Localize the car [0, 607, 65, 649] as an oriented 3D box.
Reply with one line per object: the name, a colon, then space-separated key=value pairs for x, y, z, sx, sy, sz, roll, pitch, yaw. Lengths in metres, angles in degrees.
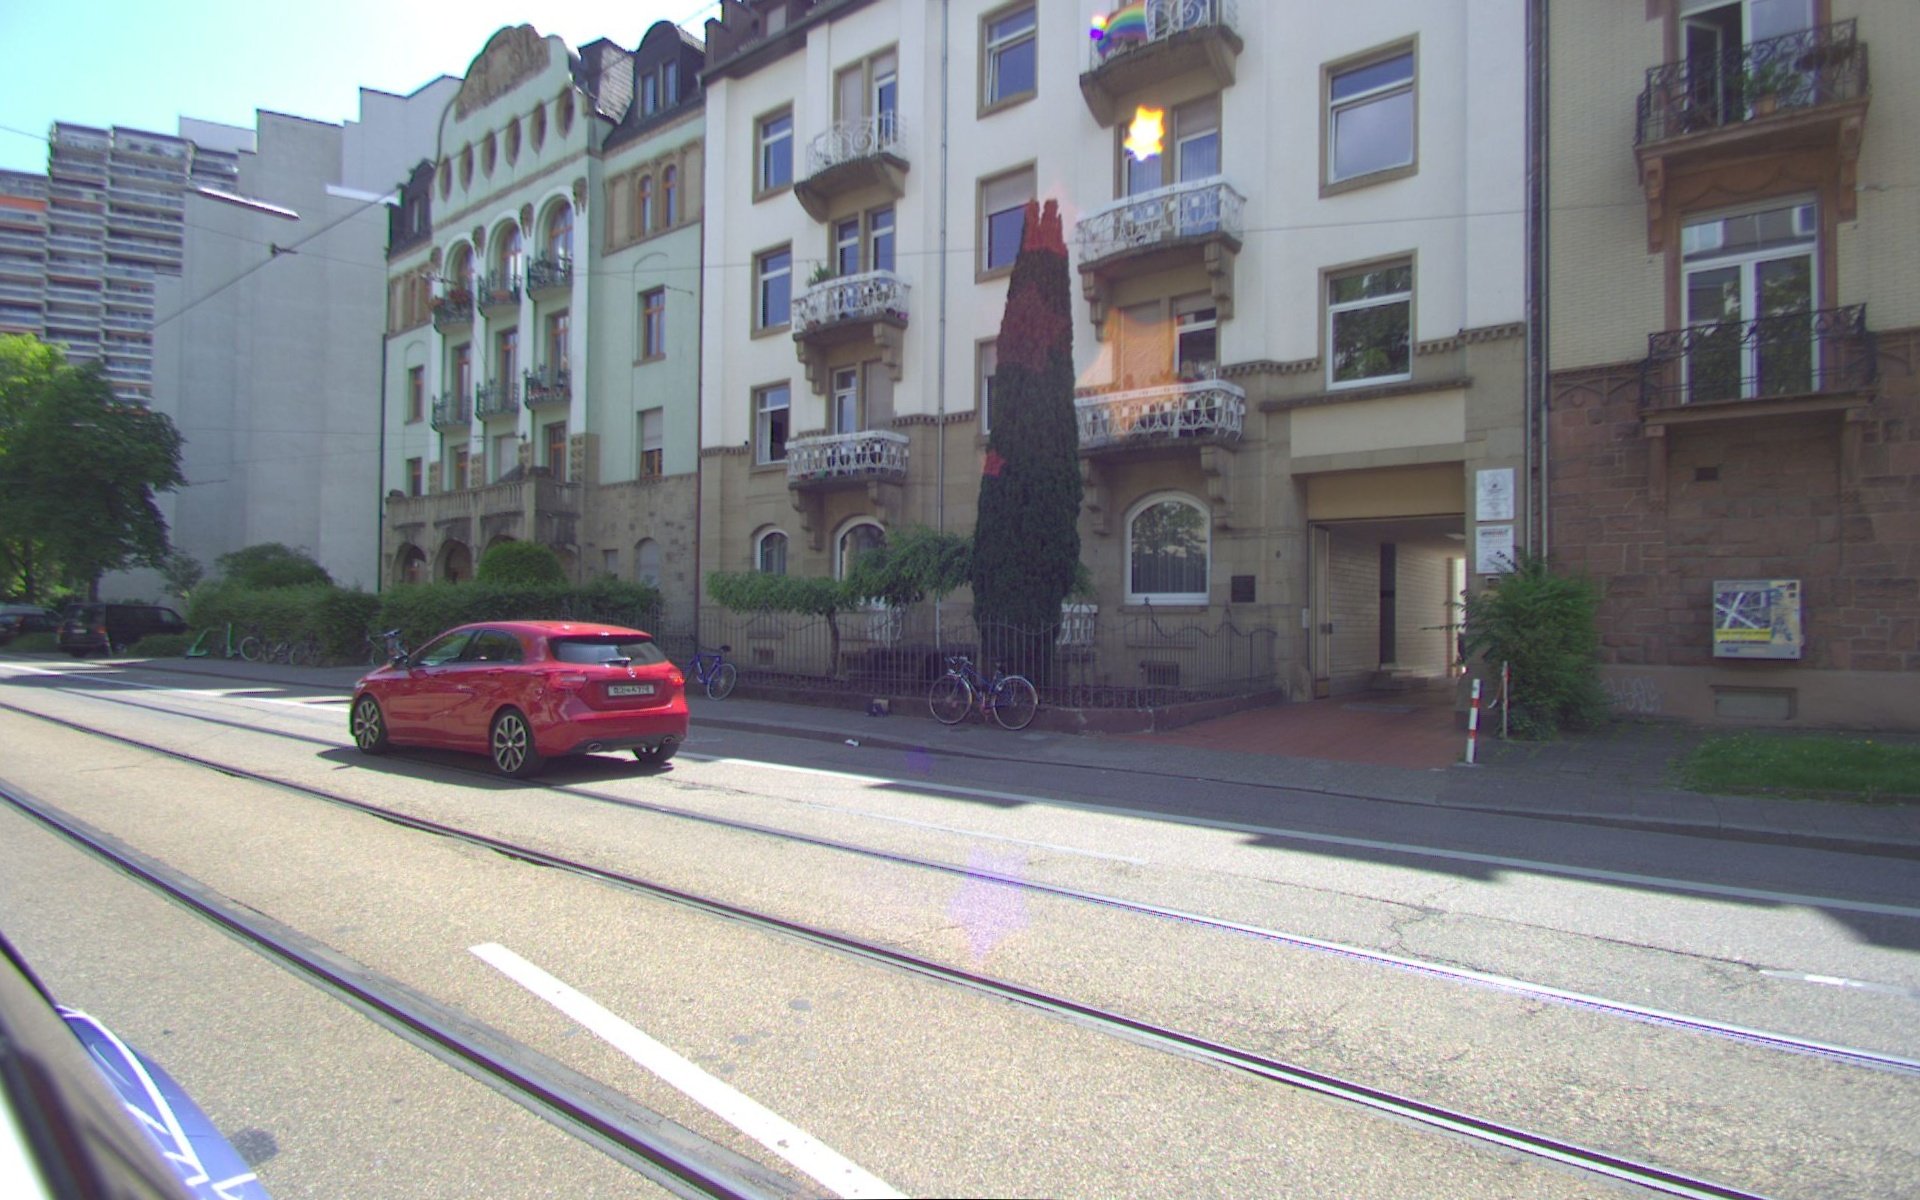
car: x=-46.974 y=1.387 z=50.234 sx=1.578 sy=2.058 sz=4.055 roll=0 pitch=-2 yaw=-3

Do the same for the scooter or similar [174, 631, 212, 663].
scooter or similar: x=-25.289 y=1.535 z=33.367 sx=1.215 sy=1.028 sz=0.404 roll=0 pitch=-2 yaw=22

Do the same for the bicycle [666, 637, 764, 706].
bicycle: x=-4.175 y=1.190 z=17.202 sx=1.769 sy=1.073 sz=0.602 roll=-1 pitch=2 yaw=37

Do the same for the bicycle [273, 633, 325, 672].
bicycle: x=-18.197 y=1.433 z=27.843 sx=1.769 sy=0.983 sz=0.602 roll=-1 pitch=2 yaw=37

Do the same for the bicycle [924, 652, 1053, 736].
bicycle: x=0.357 y=1.238 z=13.646 sx=1.838 sy=0.968 sz=0.406 roll=0 pitch=2 yaw=38

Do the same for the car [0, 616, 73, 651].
car: x=-44.326 y=1.584 z=47.903 sx=1.657 sy=1.587 sz=3.688 roll=1 pitch=-2 yaw=-5

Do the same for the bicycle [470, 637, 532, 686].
bicycle: x=-9.740 y=1.282 z=21.455 sx=1.723 sy=0.973 sz=0.409 roll=-1 pitch=1 yaw=38

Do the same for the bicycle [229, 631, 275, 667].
bicycle: x=-21.188 y=1.460 z=30.287 sx=1.705 sy=0.996 sz=0.602 roll=-1 pitch=2 yaw=37

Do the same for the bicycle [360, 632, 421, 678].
bicycle: x=-13.819 y=1.321 z=24.547 sx=1.769 sy=1.040 sz=0.602 roll=-1 pitch=2 yaw=37

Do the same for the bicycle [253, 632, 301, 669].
bicycle: x=-19.615 y=1.436 z=29.058 sx=1.705 sy=0.996 sz=0.602 roll=-1 pitch=2 yaw=37

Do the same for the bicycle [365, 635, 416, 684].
bicycle: x=-12.555 y=1.292 z=22.368 sx=0.599 sy=1.007 sz=1.780 roll=1 pitch=-2 yaw=-17

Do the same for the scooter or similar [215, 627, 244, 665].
scooter or similar: x=-22.643 y=1.417 z=31.348 sx=1.289 sy=1.128 sz=0.401 roll=-1 pitch=-2 yaw=40

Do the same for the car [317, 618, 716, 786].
car: x=-4.764 y=0.934 z=10.641 sx=4.419 sy=1.424 sz=1.806 roll=-1 pitch=-4 yaw=36

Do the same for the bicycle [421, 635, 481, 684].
bicycle: x=-11.297 y=1.303 z=22.446 sx=1.705 sy=1.007 sz=0.460 roll=-1 pitch=1 yaw=38

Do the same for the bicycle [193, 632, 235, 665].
bicycle: x=-23.881 y=1.535 z=32.376 sx=1.705 sy=0.996 sz=0.602 roll=-1 pitch=2 yaw=37

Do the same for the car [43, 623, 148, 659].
car: x=-36.366 y=1.709 z=42.686 sx=1.699 sy=1.465 sz=3.634 roll=1 pitch=-2 yaw=-9

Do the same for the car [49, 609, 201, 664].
car: x=-31.400 y=1.349 z=38.264 sx=1.935 sy=1.940 sz=4.585 roll=0 pitch=-2 yaw=0
